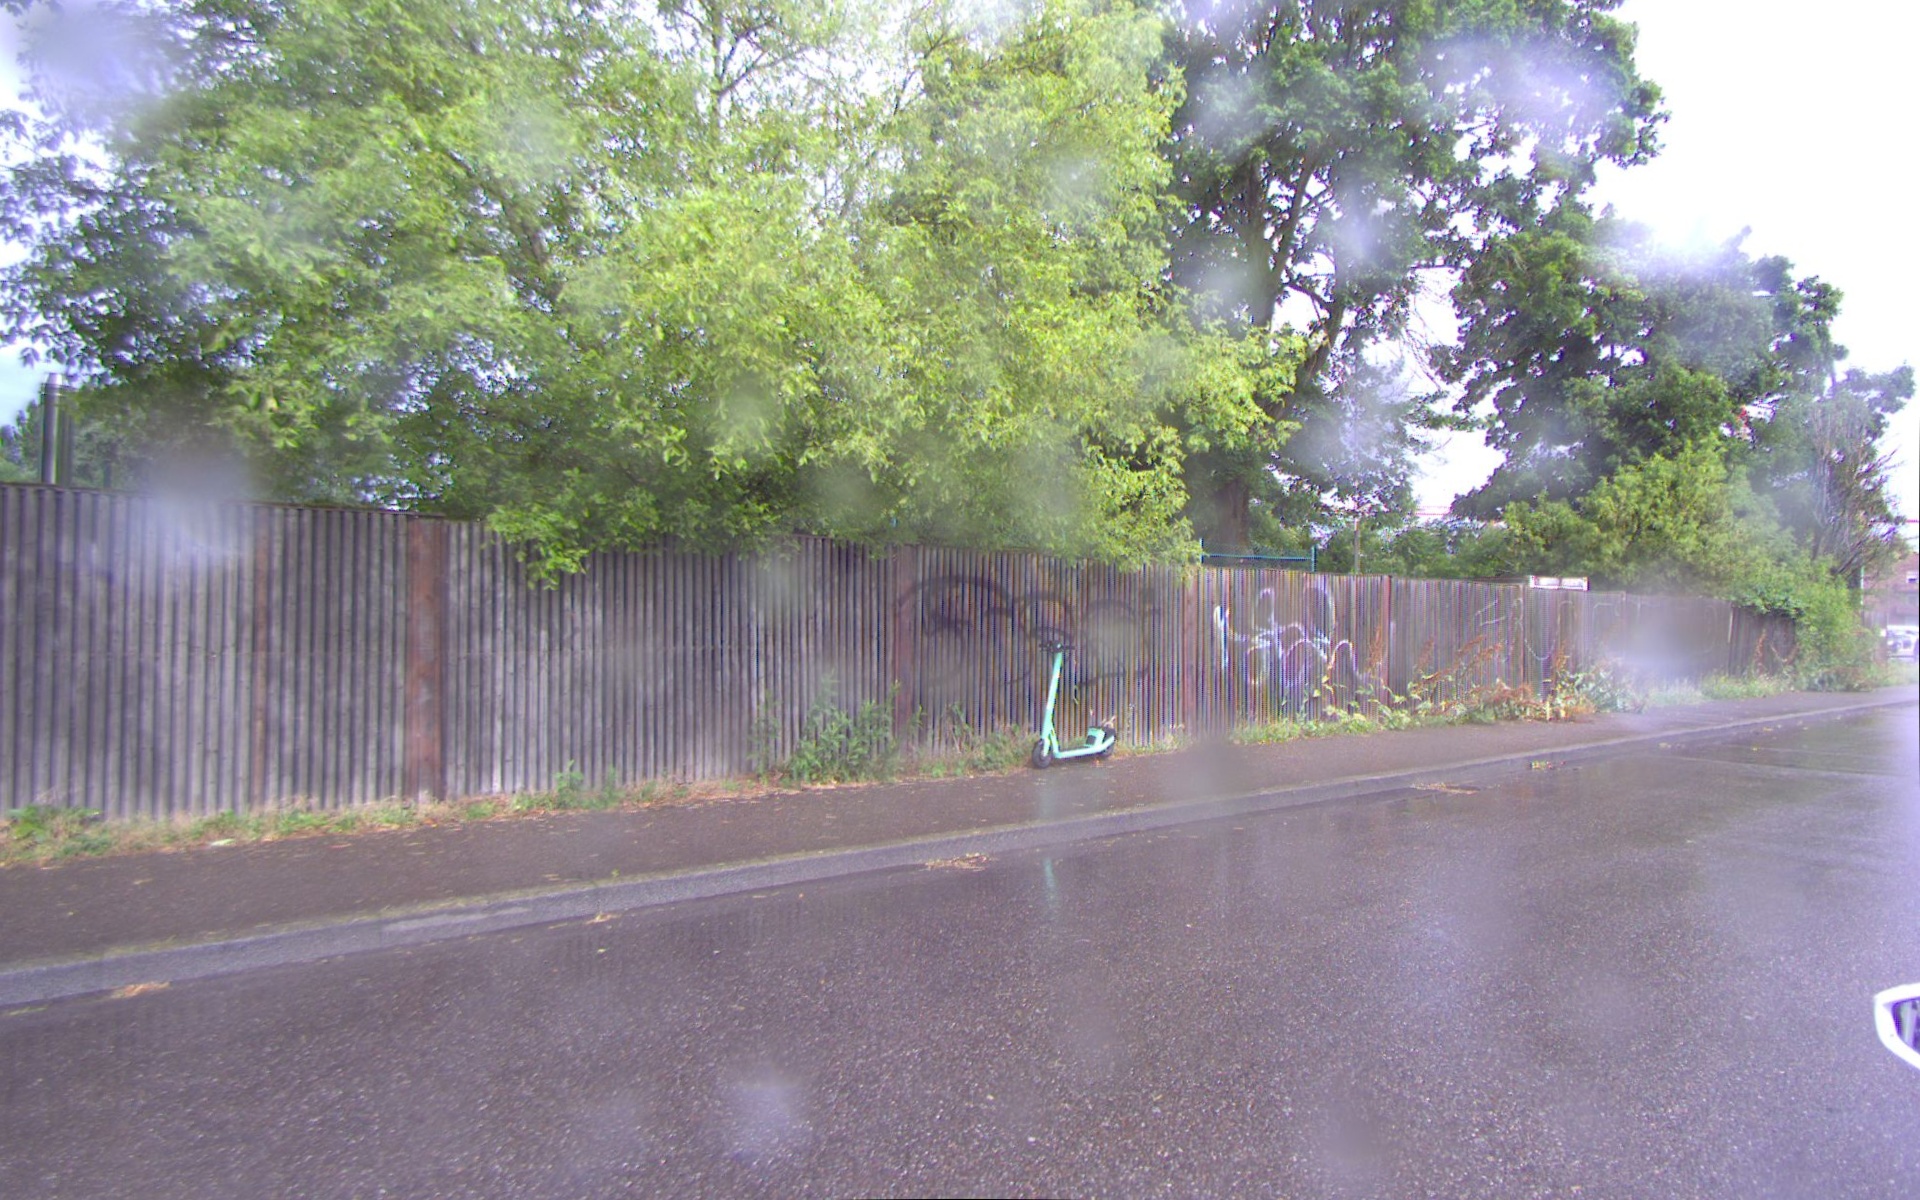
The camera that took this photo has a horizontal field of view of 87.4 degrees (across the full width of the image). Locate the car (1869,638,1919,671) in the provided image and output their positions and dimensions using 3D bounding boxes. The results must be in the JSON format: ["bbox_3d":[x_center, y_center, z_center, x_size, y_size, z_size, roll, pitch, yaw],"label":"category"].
[{"bbox_3d":[47.490,2.658,49.461,1.750,1.572,4.430,-1,-3,6],"label":"car"}]

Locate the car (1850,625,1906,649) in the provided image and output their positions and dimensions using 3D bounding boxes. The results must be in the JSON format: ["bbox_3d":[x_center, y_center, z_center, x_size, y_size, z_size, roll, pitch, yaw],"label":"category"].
[{"bbox_3d":[58.859,2.370,64.461,1.847,1.502,4.169,0,-2,31],"label":"car"}]

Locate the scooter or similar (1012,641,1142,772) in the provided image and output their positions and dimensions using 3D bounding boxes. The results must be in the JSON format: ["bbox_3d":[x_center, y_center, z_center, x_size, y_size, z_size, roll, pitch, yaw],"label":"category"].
[{"bbox_3d":[1.144,0.990,9.724,1.197,1.178,0.558,2,-1,-38],"label":"scooter or similar"}]
